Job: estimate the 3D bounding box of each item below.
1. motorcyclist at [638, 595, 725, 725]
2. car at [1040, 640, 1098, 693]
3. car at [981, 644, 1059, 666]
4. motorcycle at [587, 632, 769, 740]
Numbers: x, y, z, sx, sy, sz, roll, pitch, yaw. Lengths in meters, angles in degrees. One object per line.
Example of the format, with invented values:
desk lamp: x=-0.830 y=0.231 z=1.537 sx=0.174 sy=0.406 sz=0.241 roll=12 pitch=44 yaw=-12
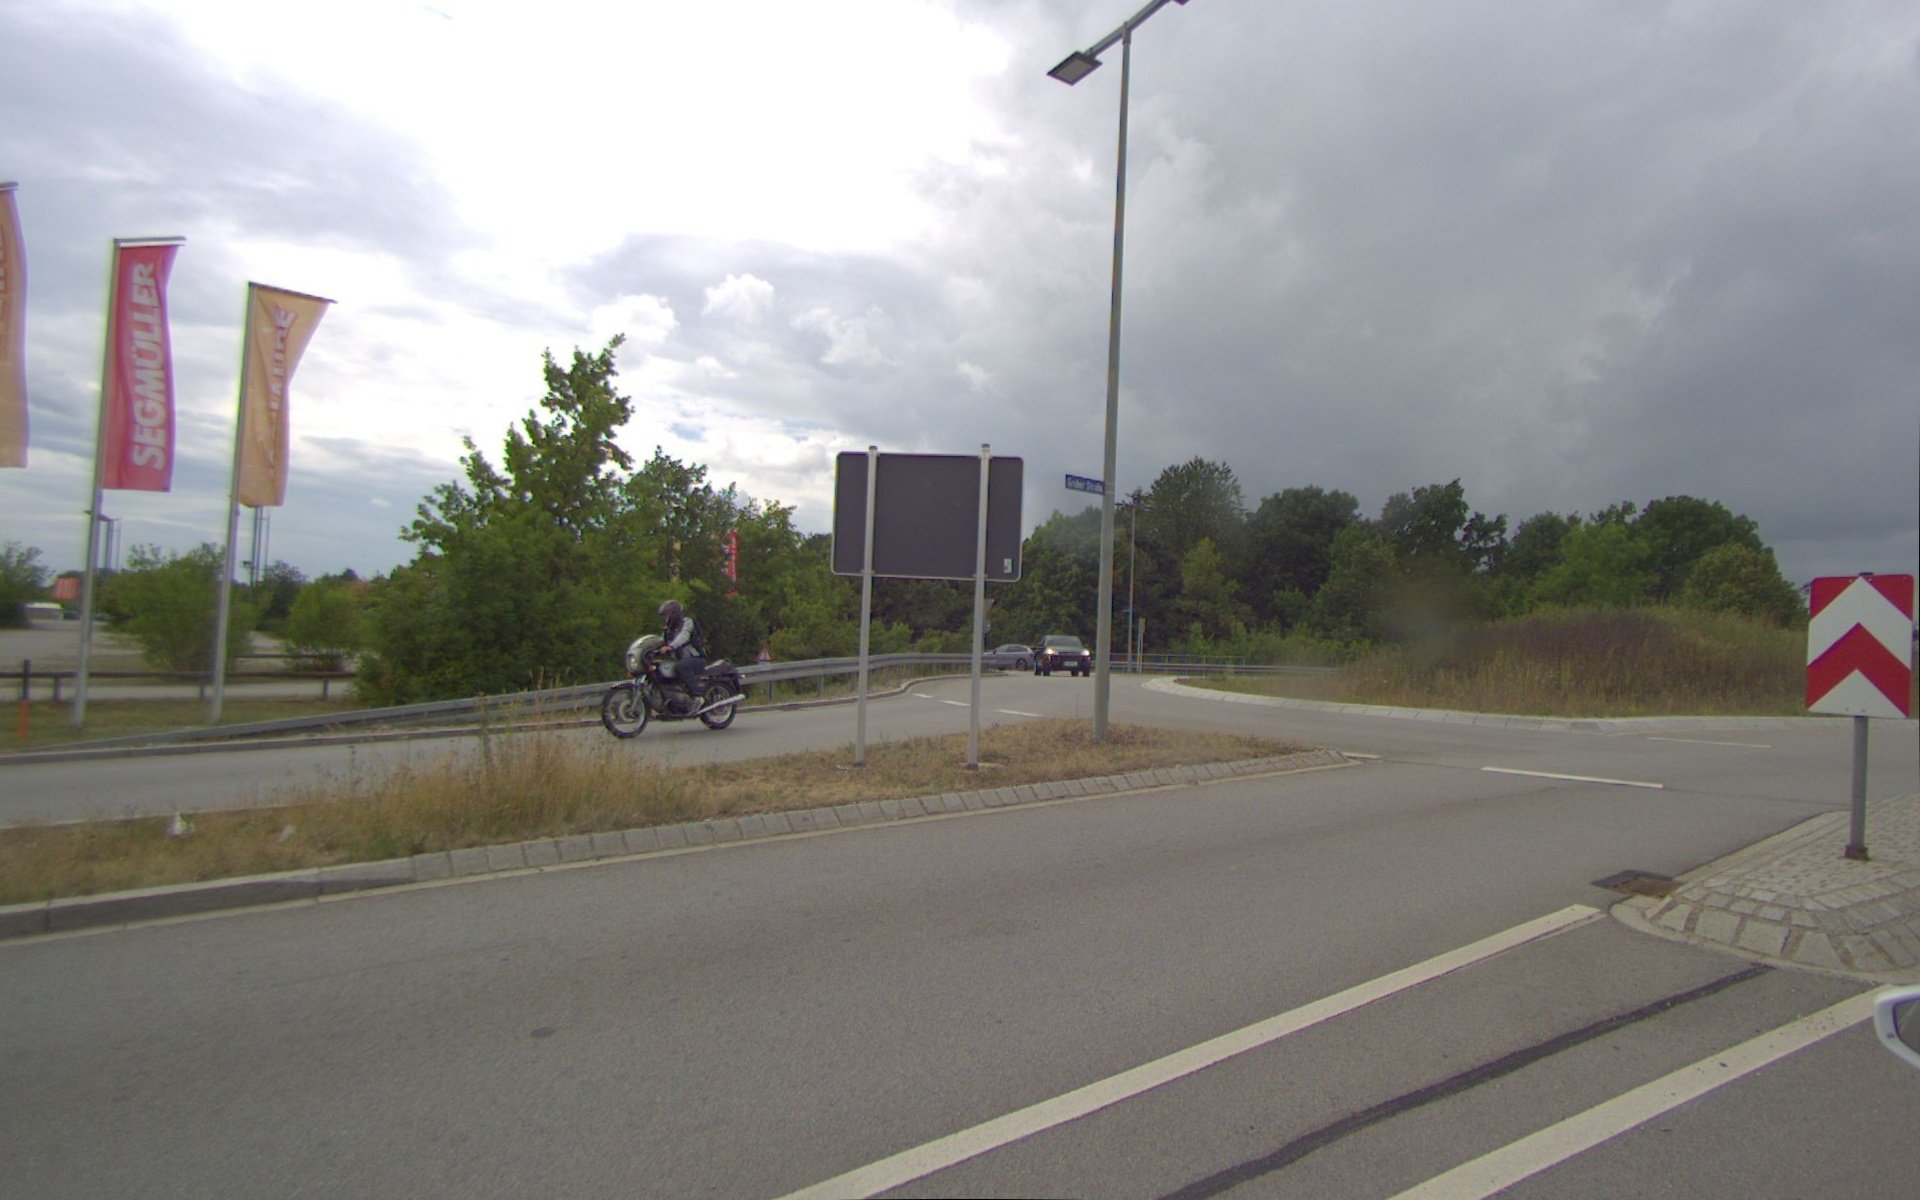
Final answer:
motorcyclist: x=-3.552 y=0.747 z=12.826 sx=0.664 sy=1.597 sz=0.843 roll=-1 pitch=-2 yaw=40
car: x=4.462 y=2.713 z=41.810 sx=2.063 sy=1.814 sz=5.052 roll=2 pitch=0 yaw=3
car: x=3.444 y=3.164 z=57.838 sx=4.409 sy=1.190 sz=1.626 roll=-2 pitch=-3 yaw=40
motorcycle: x=-3.538 y=1.042 z=12.817 sx=0.693 sy=1.246 sz=2.239 roll=-1 pitch=-1 yaw=40
